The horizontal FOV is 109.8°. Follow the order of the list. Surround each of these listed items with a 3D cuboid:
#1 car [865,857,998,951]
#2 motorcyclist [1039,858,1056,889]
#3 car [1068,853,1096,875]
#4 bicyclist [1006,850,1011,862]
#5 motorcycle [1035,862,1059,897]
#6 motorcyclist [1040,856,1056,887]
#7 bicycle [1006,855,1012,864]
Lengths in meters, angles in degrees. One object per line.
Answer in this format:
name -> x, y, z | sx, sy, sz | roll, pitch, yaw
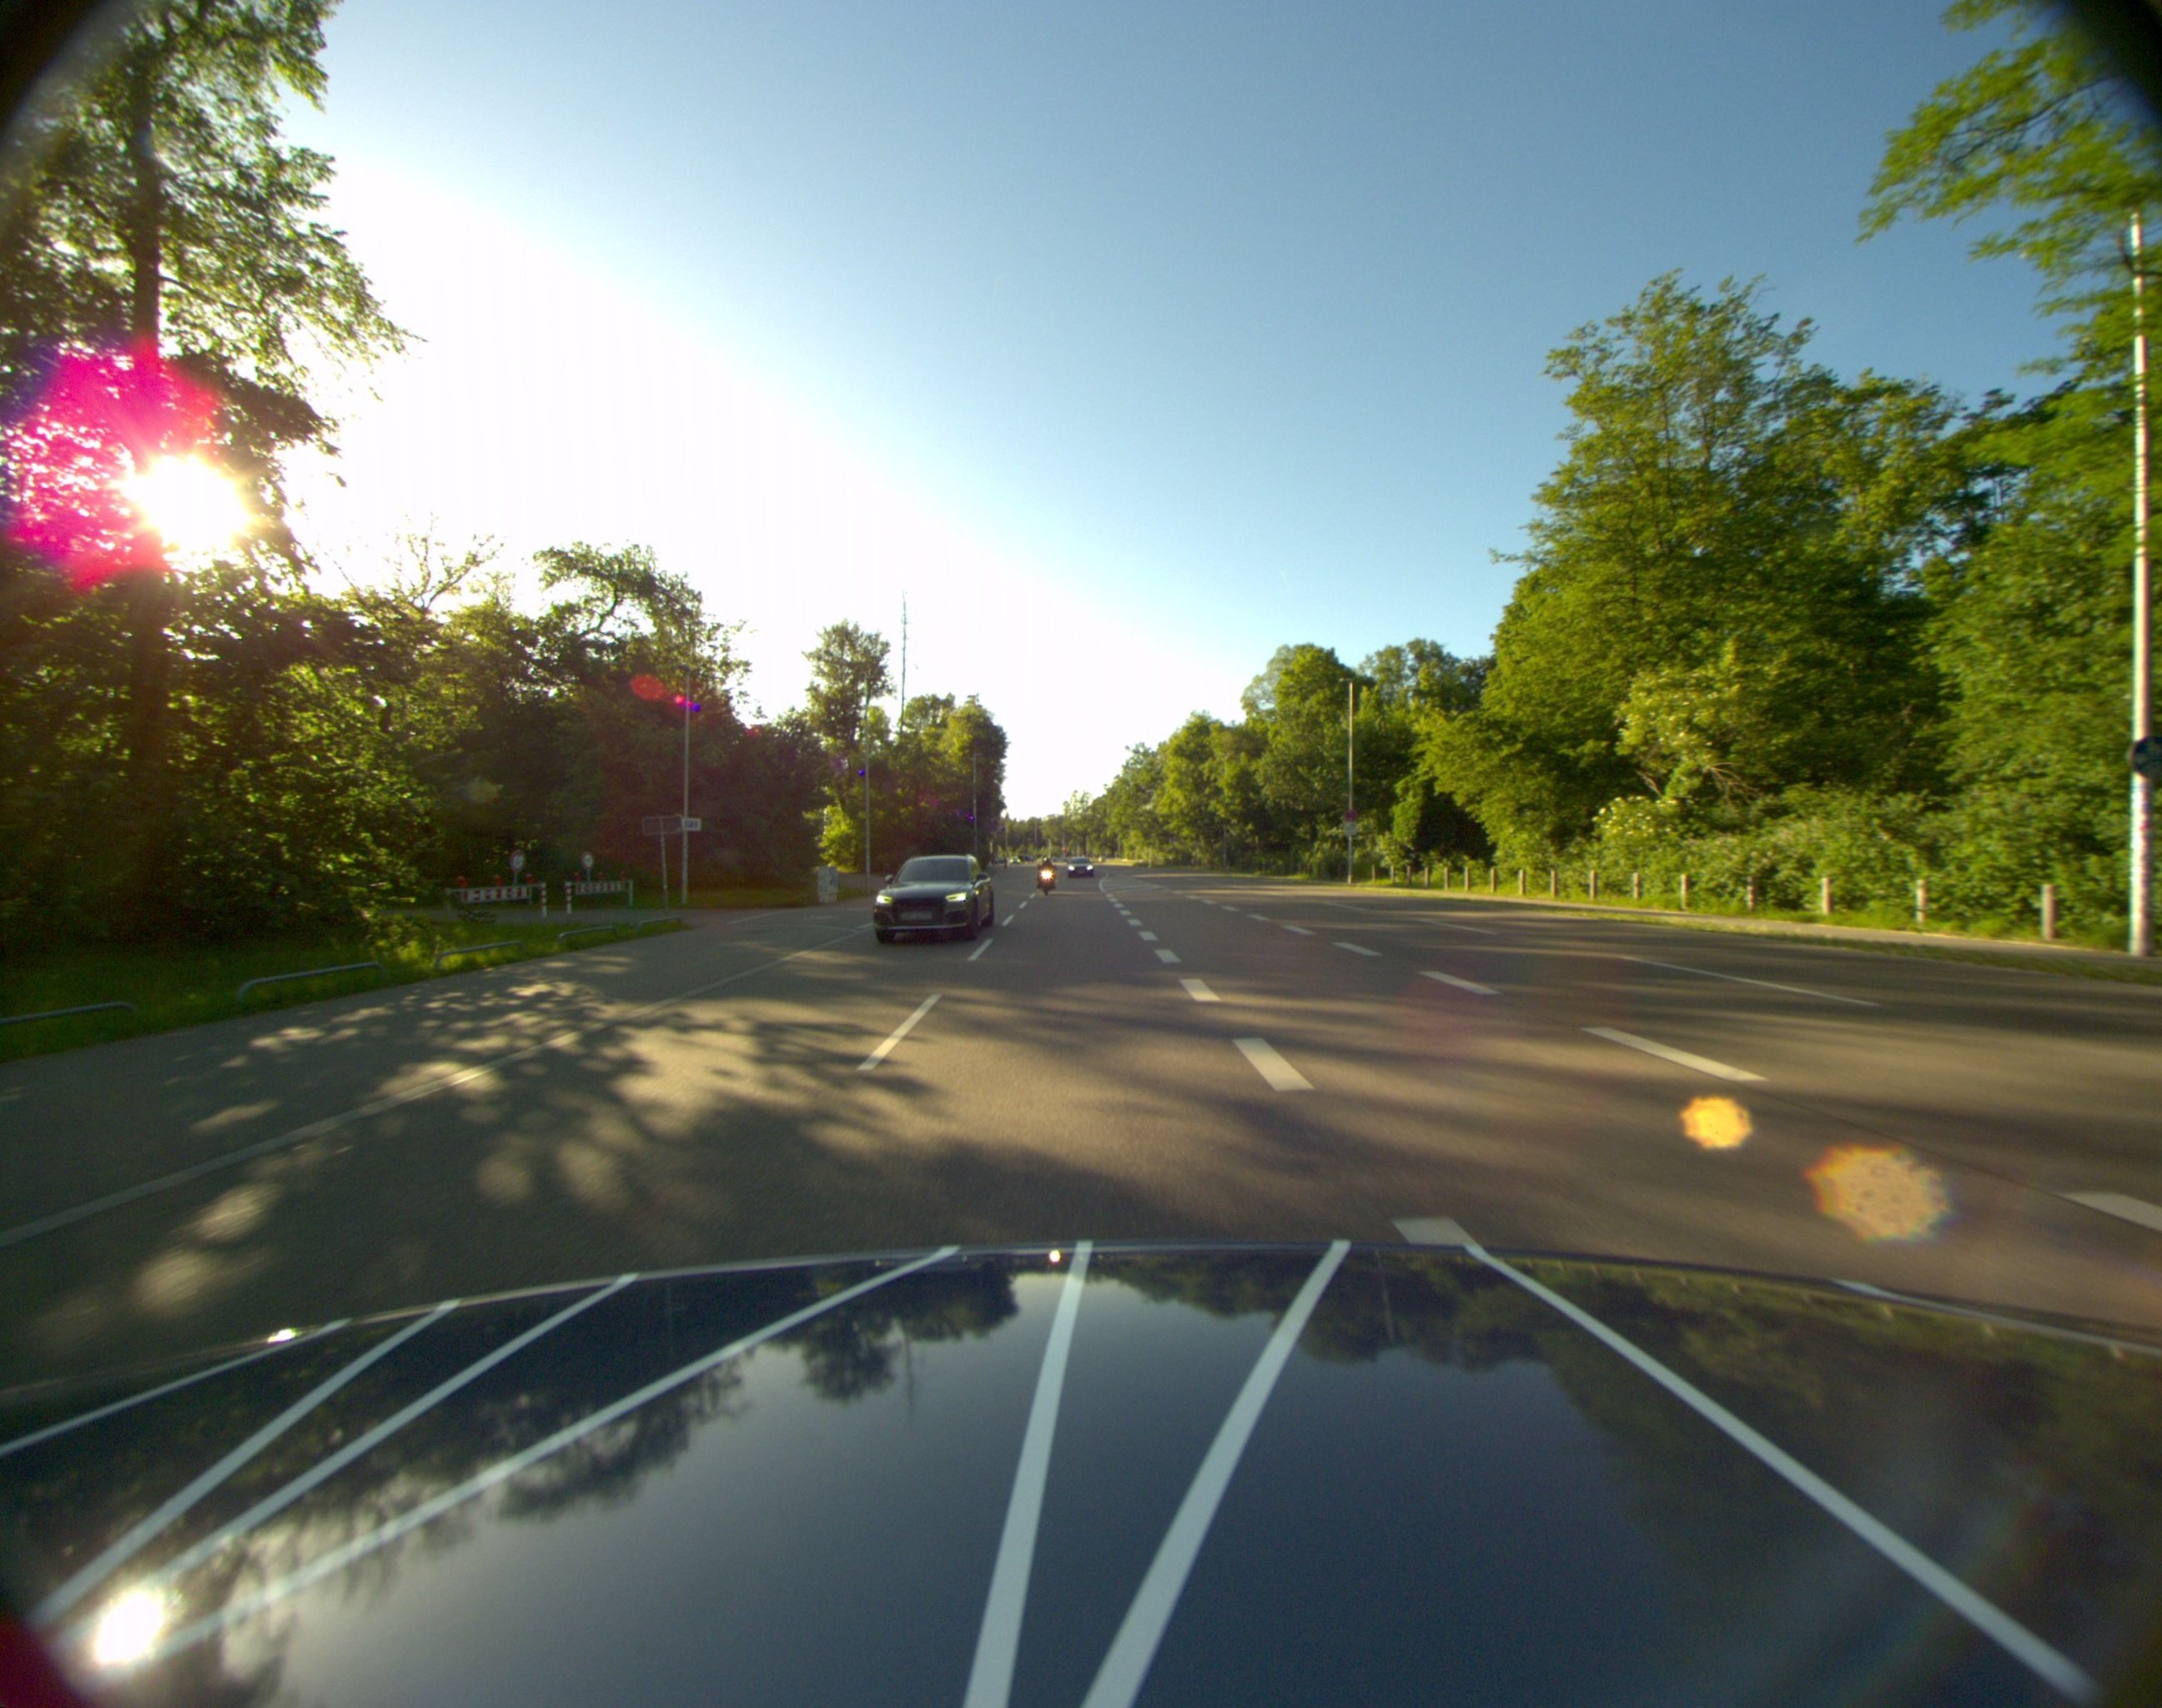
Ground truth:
car -> -2.951, 0.918, 16.041 | 1.898, 1.596, 4.543 | -2, 0, -1
motorcyclist -> -1.390, 0.792, 31.645 | 0.671, 1.257, 0.825 | -2, 1, -2
car -> 0.045, 0.708, 56.861 | 1.867, 1.538, 4.795 | -1, 0, -3
bicyclist -> -9.434, 0.251, 99.357 | 0.522, 1.460, 0.860 | 1, 0, -12
motorcycle -> -1.422, 1.030, 31.701 | 0.916, 1.243, 2.961 | -3, 2, -3
motorcyclist -> -1.415, 0.742, 32.524 | 0.671, 1.257, 0.825 | -2, 1, -3
bicycle -> -9.469, 0.663, 99.415 | 0.556, 1.130, 1.862 | 1, 0, -12
